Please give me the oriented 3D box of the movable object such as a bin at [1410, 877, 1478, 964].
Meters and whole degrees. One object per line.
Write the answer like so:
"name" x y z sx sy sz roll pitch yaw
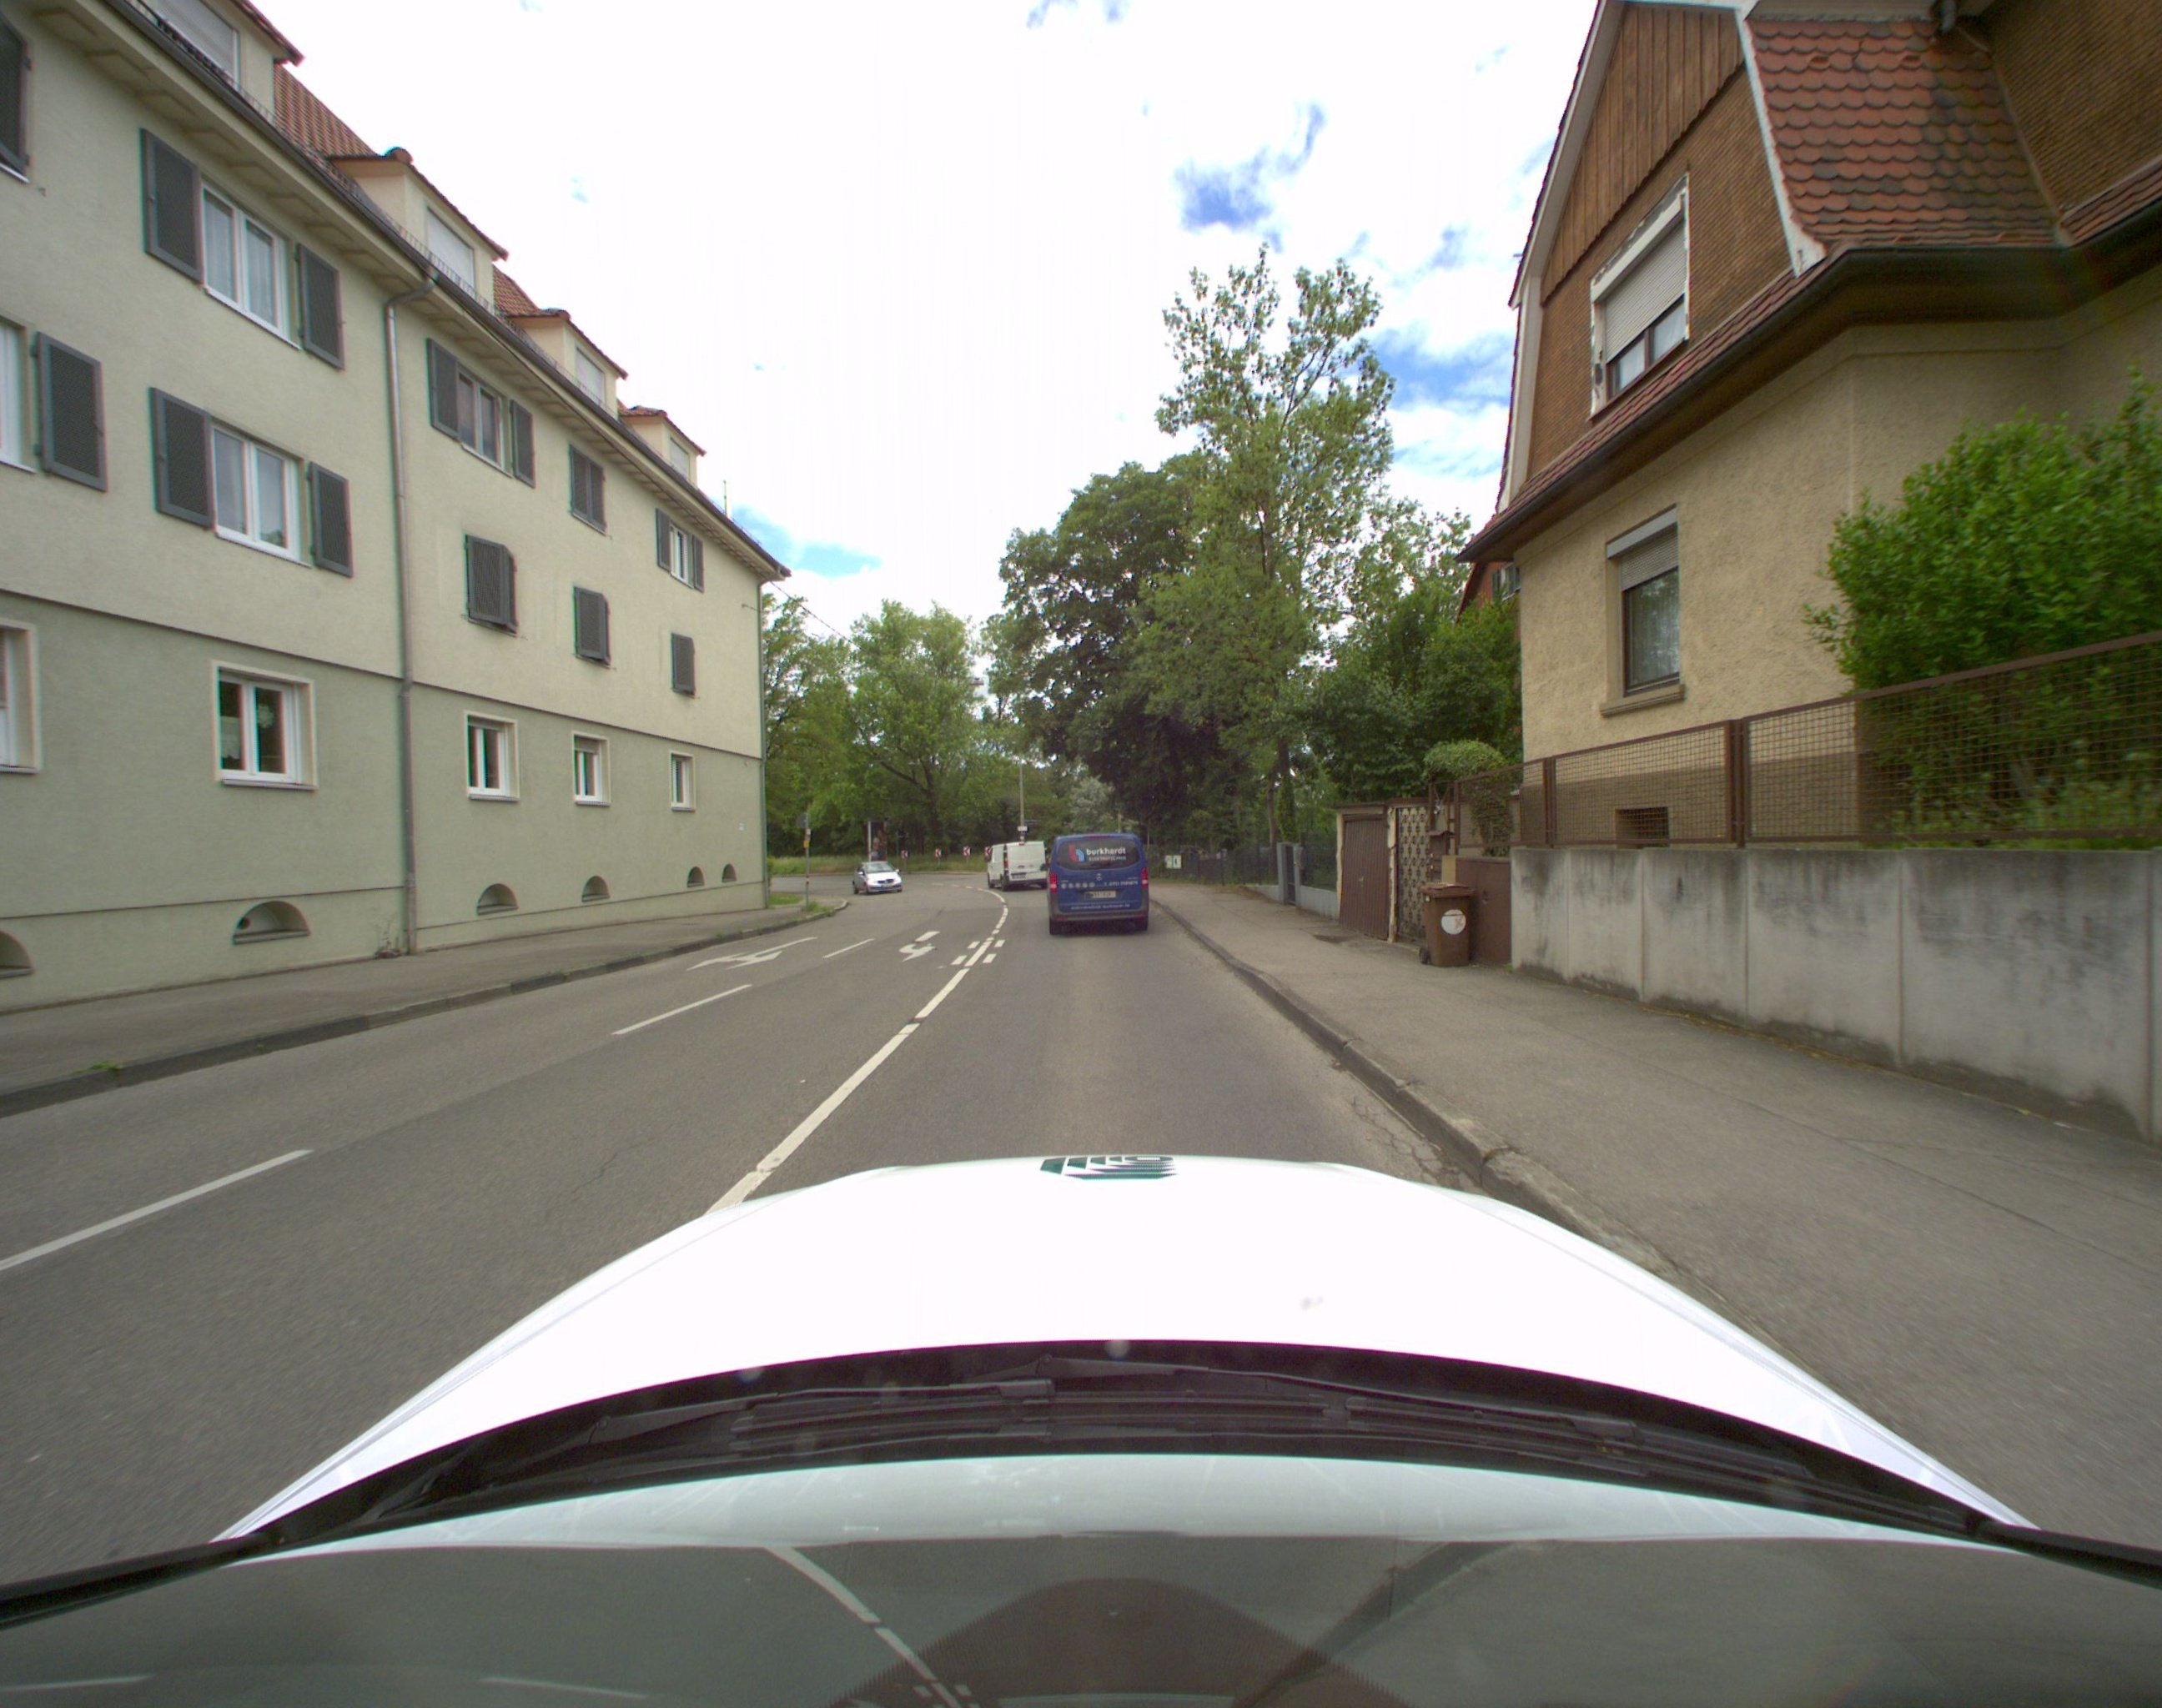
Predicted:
"movable object such as a bin" 4.178 0.751 9.407 0.460 0.924 0.566 -5 0 -1

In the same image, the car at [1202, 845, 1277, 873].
"car" 8.773 0.276 45.164 3.667 1.398 1.821 2 -2 -16

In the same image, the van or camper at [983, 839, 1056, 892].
"van or camper" -2.699 0.469 34.518 2.024 1.956 4.870 -5 1 -15

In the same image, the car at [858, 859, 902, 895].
"car" -10.096 1.126 40.759 1.728 1.605 3.951 -3 0 -19

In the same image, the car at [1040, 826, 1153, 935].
"car" 0.231 0.462 16.597 1.908 1.837 4.291 -3 0 -2
